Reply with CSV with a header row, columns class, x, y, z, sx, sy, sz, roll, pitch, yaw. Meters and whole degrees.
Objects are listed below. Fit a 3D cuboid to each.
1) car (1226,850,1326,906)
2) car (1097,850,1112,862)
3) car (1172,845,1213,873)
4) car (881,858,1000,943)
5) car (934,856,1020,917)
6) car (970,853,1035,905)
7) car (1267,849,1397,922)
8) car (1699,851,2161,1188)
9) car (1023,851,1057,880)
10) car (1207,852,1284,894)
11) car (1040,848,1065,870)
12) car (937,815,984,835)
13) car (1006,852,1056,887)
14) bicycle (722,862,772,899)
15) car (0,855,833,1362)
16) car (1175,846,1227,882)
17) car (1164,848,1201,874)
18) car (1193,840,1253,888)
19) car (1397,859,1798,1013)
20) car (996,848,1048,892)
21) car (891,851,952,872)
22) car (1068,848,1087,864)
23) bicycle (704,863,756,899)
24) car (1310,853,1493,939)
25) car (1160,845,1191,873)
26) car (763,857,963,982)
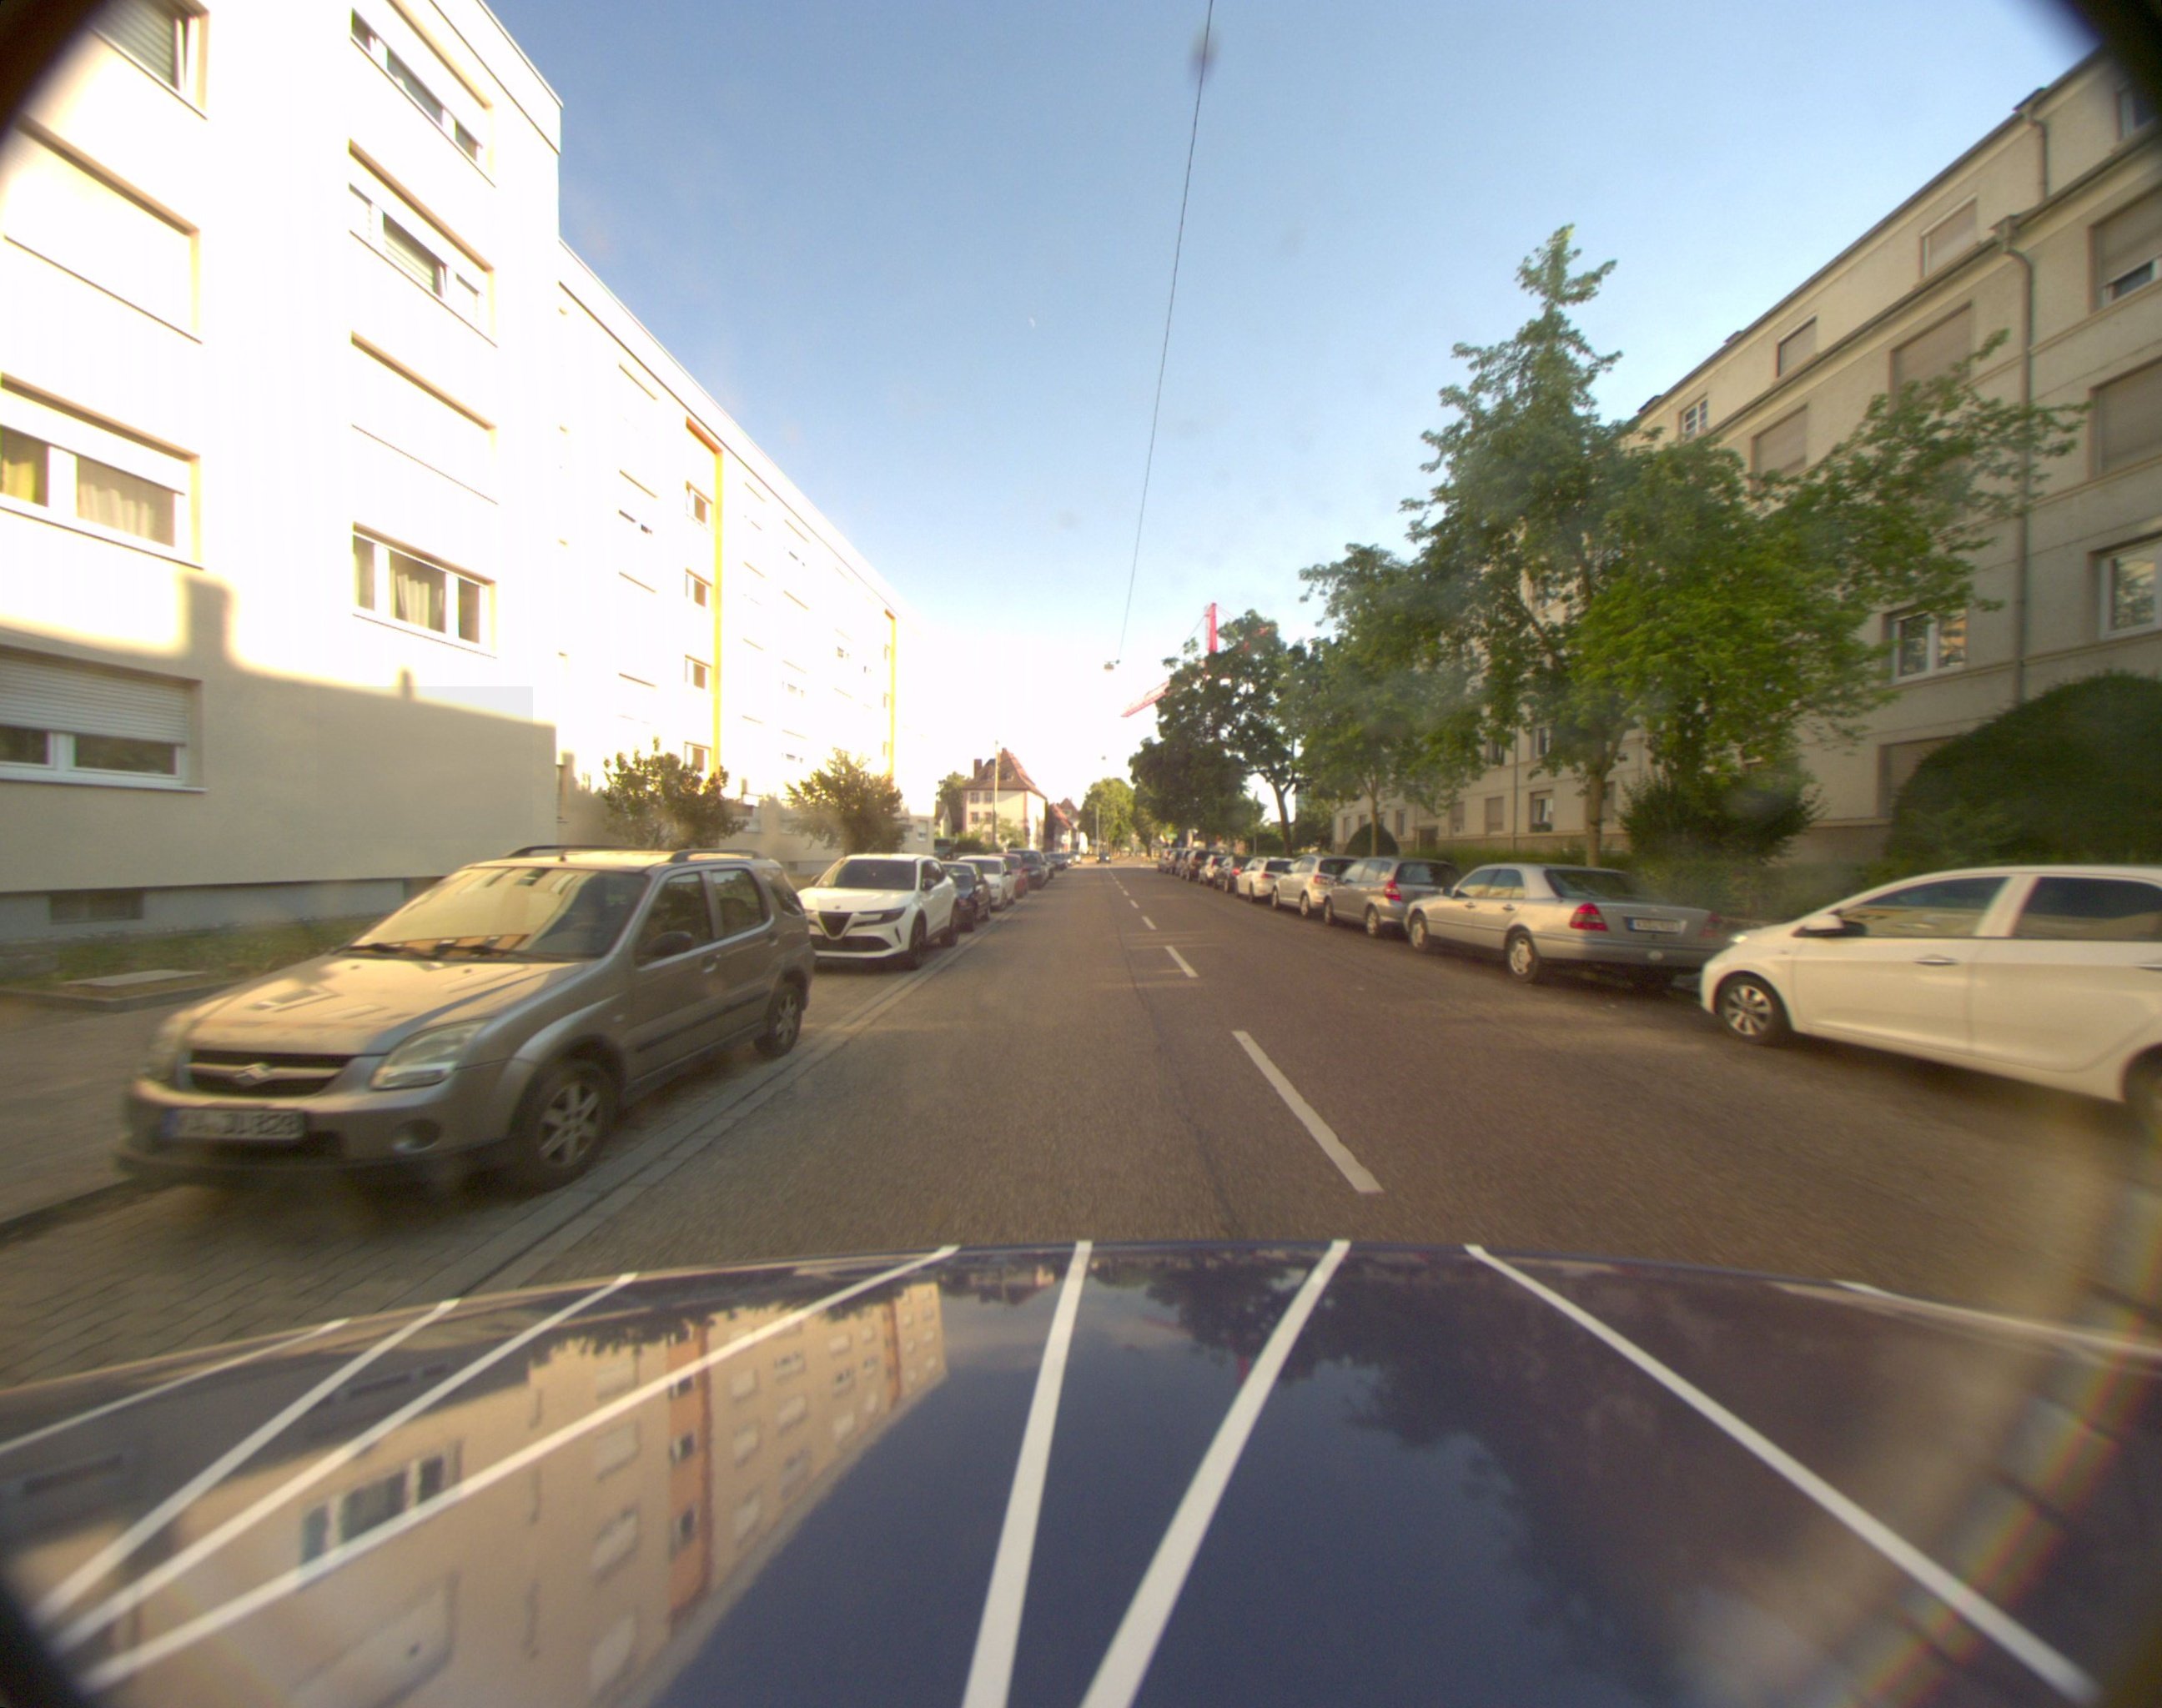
class,x,y,z,sx,sy,sz,roll,pitch,yaw
car,6.211,0.704,24.739,2.009,1.543,4.470,-2,1,-1
car,3.047,0.283,98.142,1.775,1.492,3.673,0,0,-1
car,6.900,0.269,47.217,1.878,1.543,3.999,-2,1,-1
car,-2.869,0.892,16.457,1.665,1.430,4.312,-2,1,1
car,-2.857,0.846,21.649,1.776,1.445,3.999,2,1,1
car,-2.743,0.831,27.379,1.776,1.607,3.999,-2,1,1
car,6.244,0.721,19.414,1.878,1.543,3.999,2,1,-1
car,6.015,0.820,4.629,1.712,1.565,3.260,2,1,-2
car,-2.314,0.619,44.050,1.803,1.498,4.620,0,1,-1
car,6.381,0.690,30.021,1.878,1.426,4.802,1,1,-1
car,-2.286,0.411,62.473,1.891,1.552,4.944,4,1,-1
car,-11.349,-2.707,71.541,3.996,1.784,2.000,-2,2,2
car,-2.419,0.731,37.689,1.775,1.499,4.001,-2,1,5
bicycle,-9.529,0.741,21.739,0.438,0.936,1.791,-2,1,7
car,-3.260,0.854,4.670,1.967,1.596,4.278,0,1,1
car,6.415,0.480,41.058,1.878,1.749,4.688,2,1,-1
car,6.825,0.457,51.542,1.878,1.543,3.998,-2,1,-1
car,6.520,0.393,35.312,1.998,2.002,3.999,2,1,1
car,5.989,0.812,9.711,1.878,1.348,4.652,1,1,-1
car,-2.467,0.621,32.864,1.776,1.668,4.645,1,1,1
car,-12.810,0.579,61.283,4.486,1.593,1.732,1,2,4
car,-0.459,0.240,94.431,1.925,1.769,4.810,4,2,4
bicycle,-10.029,0.757,21.776,0.438,0.936,1.791,-2,1,7
car,6.134,0.718,15.091,1.878,1.348,3.999,-2,1,-1
car,6.936,0.319,56.213,1.846,1.886,4.486,-2,1,2
car,-2.987,0.822,11.354,1.878,1.434,3.999,0,1,-1
